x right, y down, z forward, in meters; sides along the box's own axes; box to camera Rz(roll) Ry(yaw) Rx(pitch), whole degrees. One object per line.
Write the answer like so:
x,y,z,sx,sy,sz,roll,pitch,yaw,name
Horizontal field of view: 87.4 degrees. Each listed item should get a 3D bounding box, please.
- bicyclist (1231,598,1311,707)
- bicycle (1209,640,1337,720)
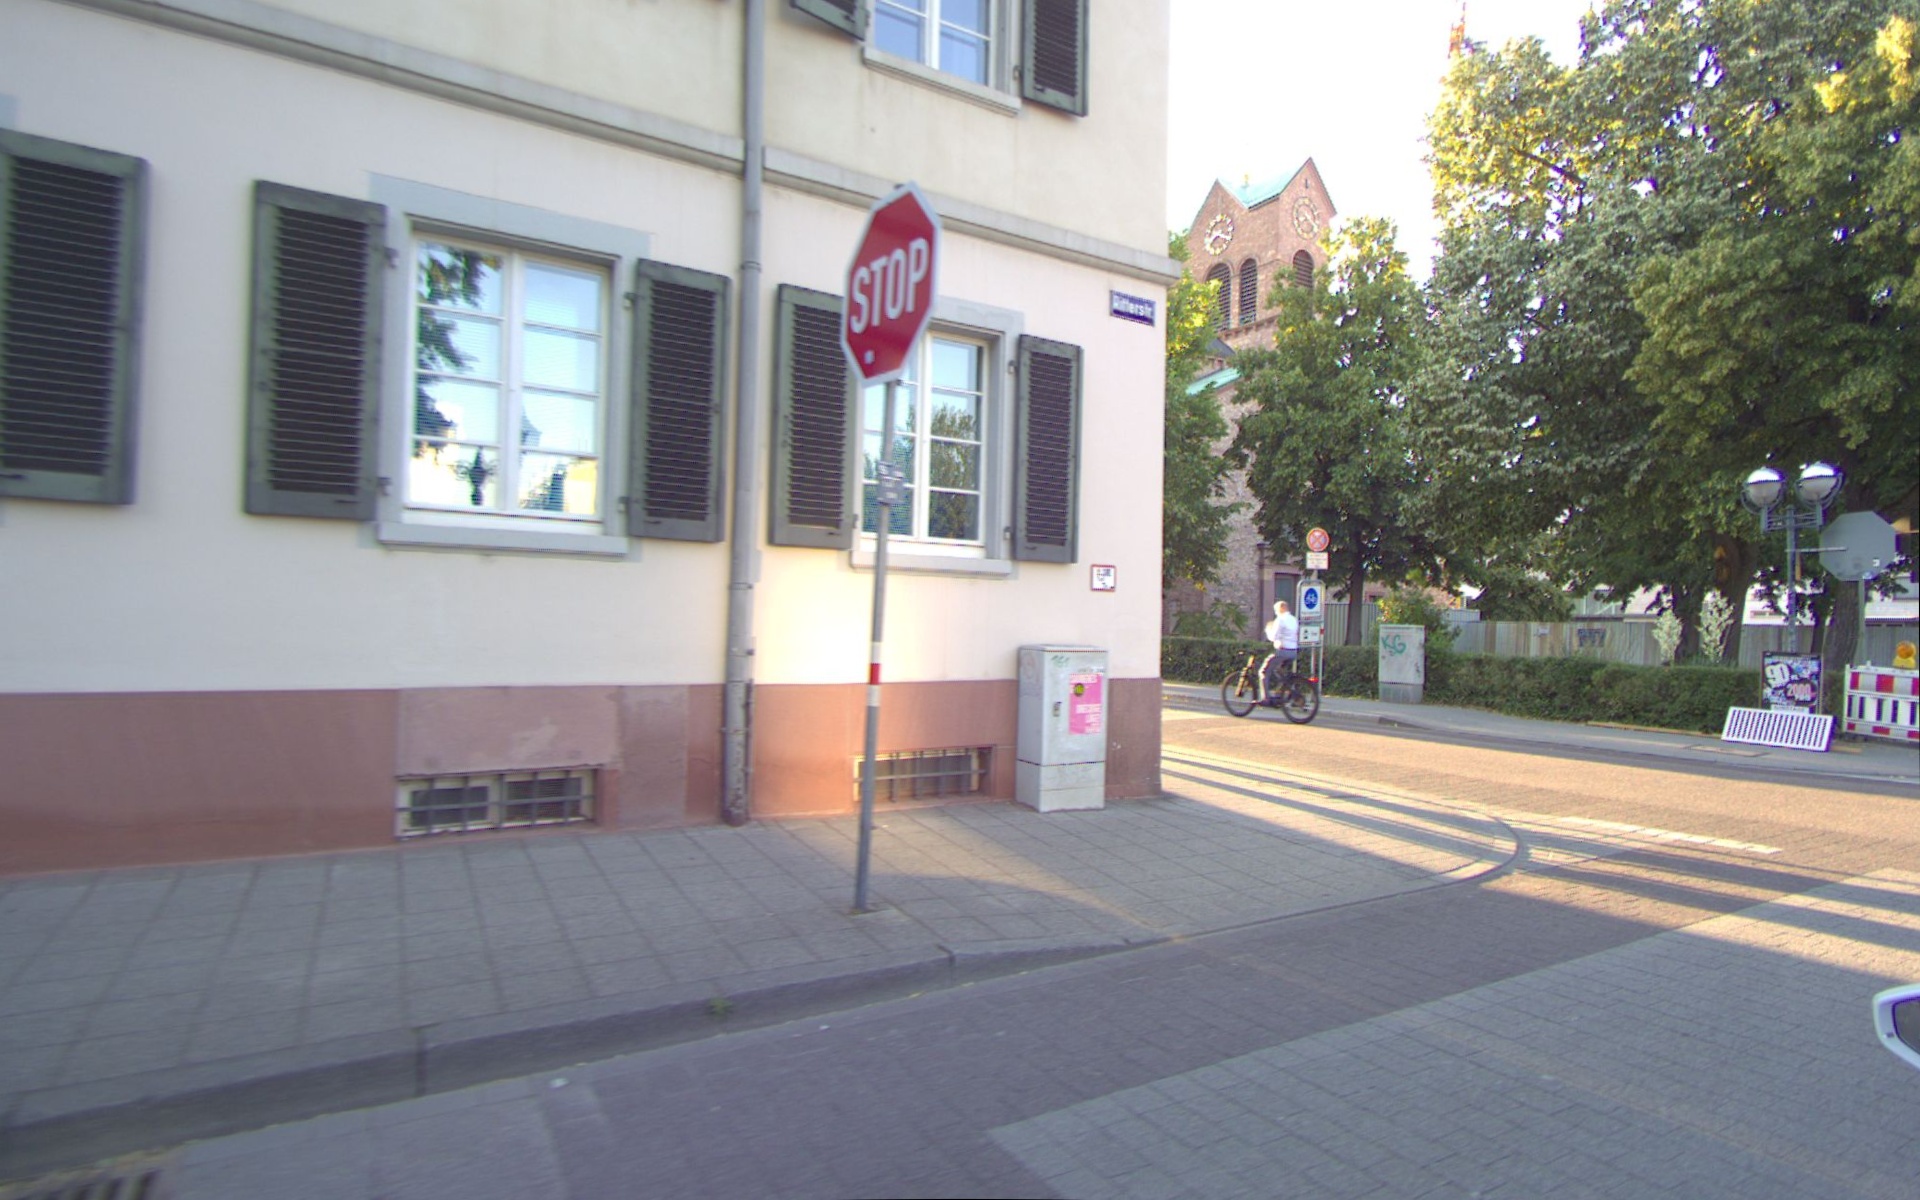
4.890,0.805,15.819,0.591,1.654,1.052,2,-2,-39,bicyclist
4.879,1.223,15.786,0.591,1.136,1.912,2,-2,-39,bicycle
